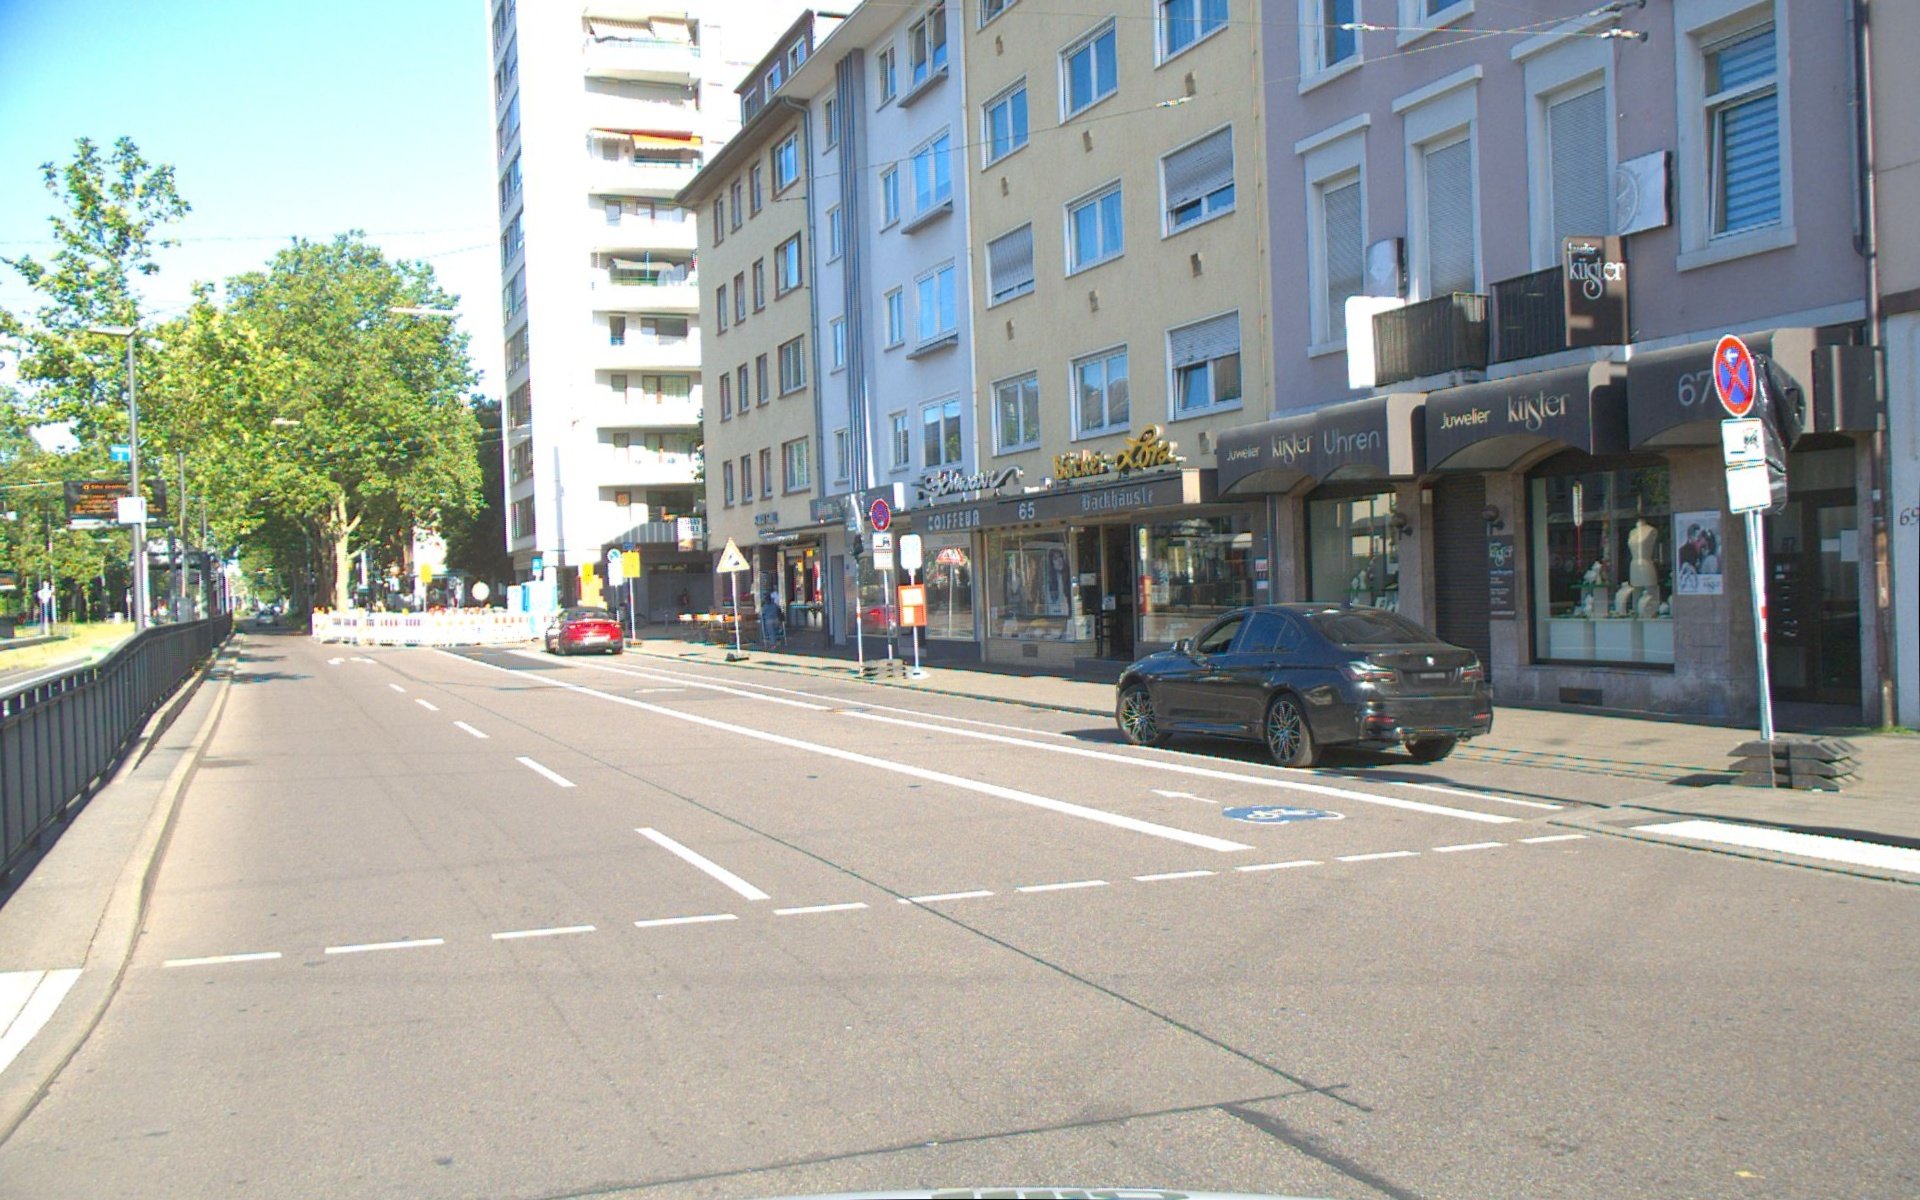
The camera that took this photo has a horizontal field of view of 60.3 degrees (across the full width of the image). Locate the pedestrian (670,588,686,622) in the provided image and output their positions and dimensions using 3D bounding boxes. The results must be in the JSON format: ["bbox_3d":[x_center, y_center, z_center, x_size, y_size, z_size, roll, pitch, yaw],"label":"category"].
[{"bbox_3d":[-14.086,0.251,82.670,0.664,1.670,0.576,-3,1,-16],"label":"pedestrian"}]

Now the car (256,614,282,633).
[{"bbox_3d":[-60.454,2.028,144.688,1.943,1.535,3.969,-2,1,-24],"label":"car"}]

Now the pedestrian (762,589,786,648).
[{"bbox_3d":[-5.098,0.515,45.293,0.499,1.589,0.463,-2,0,-21],"label":"pedestrian"}]

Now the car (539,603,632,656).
[{"bbox_3d":[-11.343,0.856,49.952,1.912,1.455,3.967,-2,1,-25],"label":"car"}]

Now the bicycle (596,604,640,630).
[{"bbox_3d":[-15.721,0.778,76.118,1.906,1.086,0.583,-2,0,-7],"label":"bicycle"}]

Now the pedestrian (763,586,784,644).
[{"bbox_3d":[-5.448,0.426,48.360,0.463,1.672,0.505,-2,0,-21],"label":"pedestrian"}]

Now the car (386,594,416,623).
[{"bbox_3d":[-41.214,0.639,121.980,1.962,2.049,3.981,-2,0,-17],"label":"car"}]

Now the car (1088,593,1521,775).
[{"bbox_3d":[3.162,0.712,16.253,1.717,1.465,4.617,-2,1,-25],"label":"car"}]

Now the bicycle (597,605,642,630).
[{"bbox_3d":[-15.522,0.791,75.382,1.906,1.086,0.583,-2,0,-7],"label":"bicycle"}]
